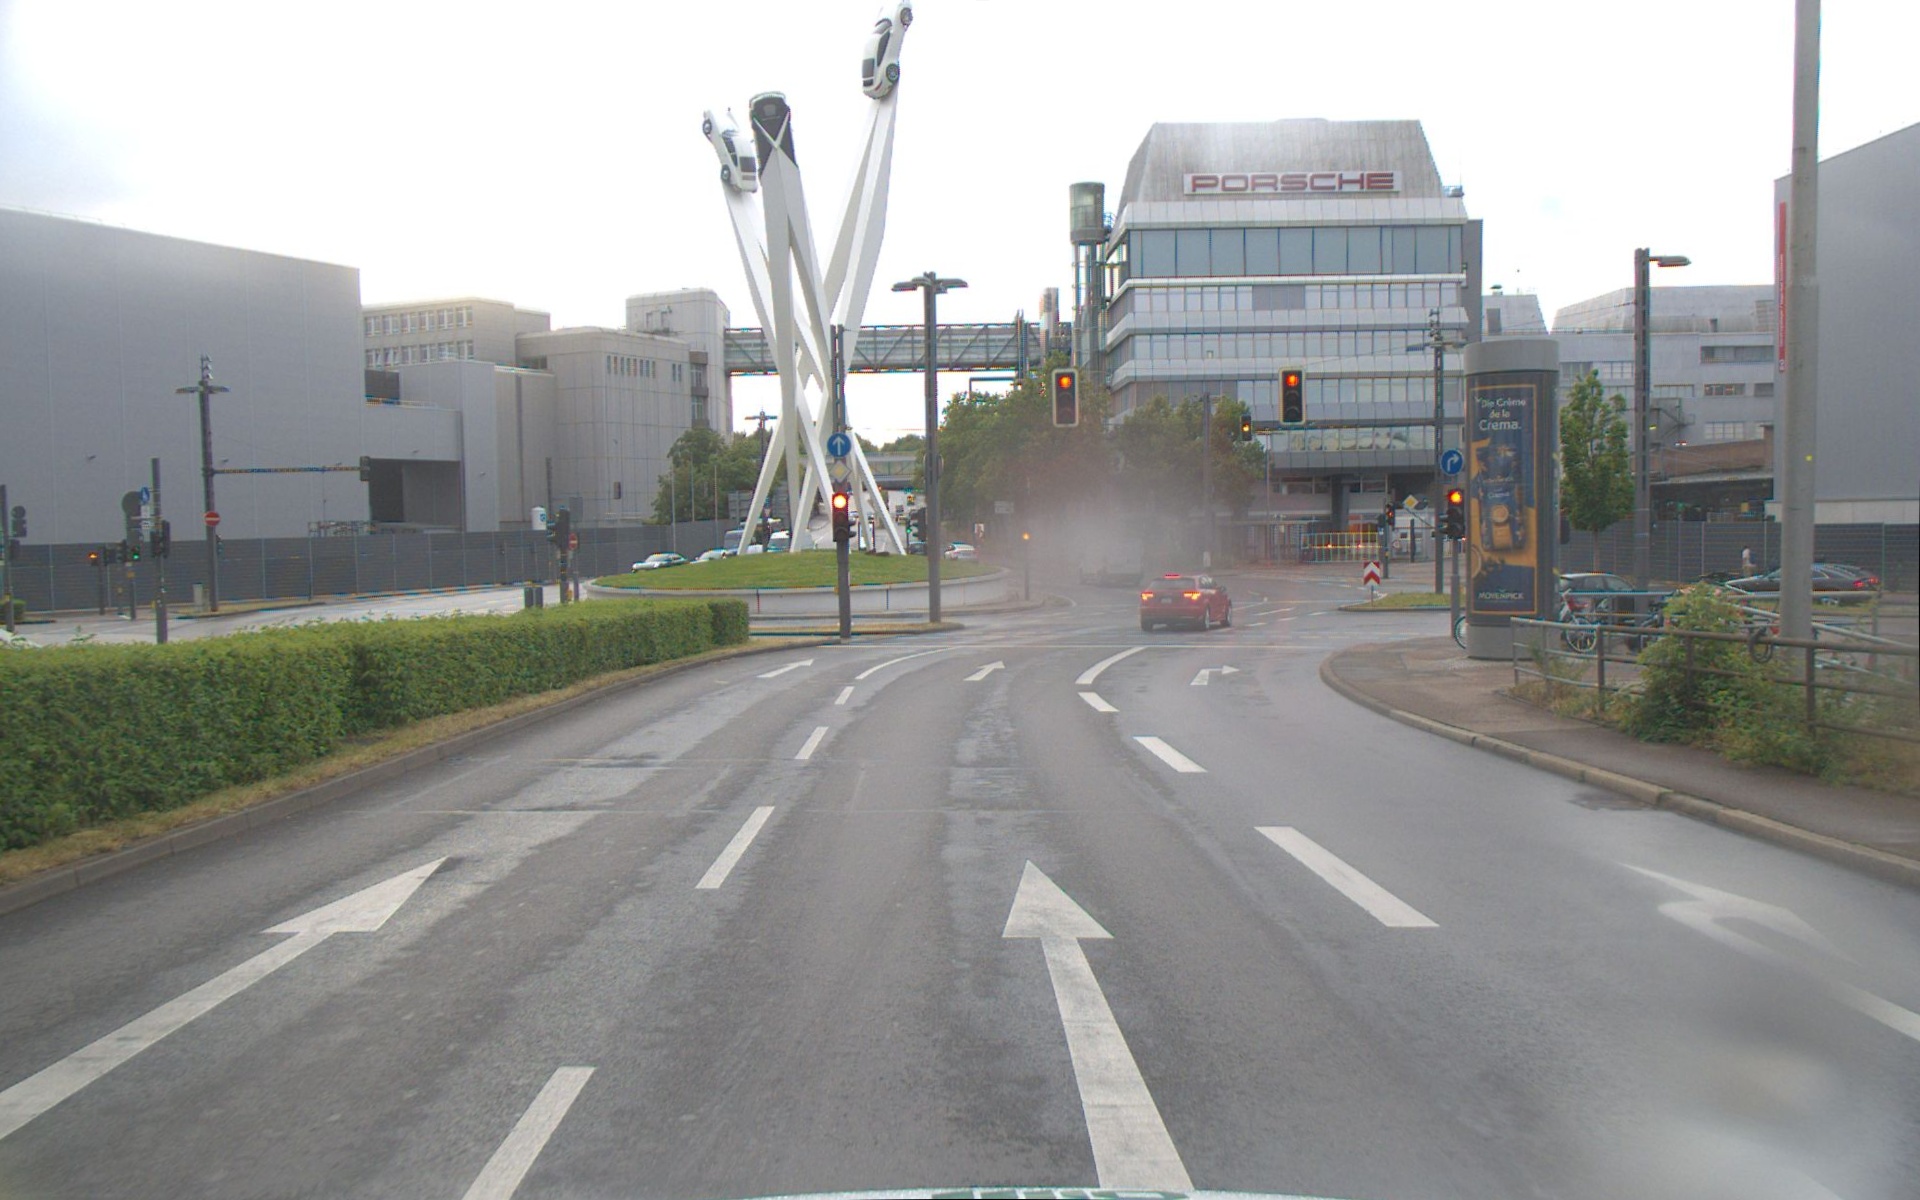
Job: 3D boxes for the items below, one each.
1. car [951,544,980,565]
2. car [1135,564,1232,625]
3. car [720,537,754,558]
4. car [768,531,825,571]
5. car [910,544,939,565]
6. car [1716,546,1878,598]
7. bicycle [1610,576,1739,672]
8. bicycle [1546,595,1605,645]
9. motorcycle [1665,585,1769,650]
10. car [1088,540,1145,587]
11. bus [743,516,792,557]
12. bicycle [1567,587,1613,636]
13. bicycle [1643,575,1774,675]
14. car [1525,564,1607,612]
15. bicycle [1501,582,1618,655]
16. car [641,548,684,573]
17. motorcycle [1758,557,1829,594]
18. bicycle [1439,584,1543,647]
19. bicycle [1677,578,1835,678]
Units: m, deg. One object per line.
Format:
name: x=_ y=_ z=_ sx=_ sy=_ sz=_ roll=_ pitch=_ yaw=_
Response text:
car: x=0.365 y=-3.005 z=110.241 sx=1.635 sy=1.323 sz=3.882 roll=-1 pitch=0 yaw=-5
car: x=5.835 y=-0.142 z=42.944 sx=1.736 sy=1.490 sz=3.733 roll=0 pitch=0 yaw=20
car: x=-16.535 y=-3.911 z=122.818 sx=1.795 sy=1.497 sz=4.514 roll=-1 pitch=1 yaw=1
car: x=-10.509 y=-3.166 z=106.804 sx=1.951 sy=2.489 sz=5.432 roll=-1 pitch=1 yaw=13
car: x=-2.393 y=-3.046 z=110.968 sx=1.528 sy=1.310 sz=3.407 roll=-1 pitch=0 yaw=-8
car: x=27.643 y=-0.961 z=54.731 sx=4.501 sy=1.566 sz=1.748 roll=2 pitch=3 yaw=41
bicycle: x=9.762 y=0.311 z=22.584 sx=1.906 sy=1.245 sz=0.593 roll=-2 pitch=0 yaw=-30
bicycle: x=11.751 y=0.368 z=31.634 sx=0.677 sy=0.920 sz=2.176 roll=0 pitch=0 yaw=11
motorcycle: x=17.690 y=0.401 z=38.707 sx=2.183 sy=1.477 sz=0.756 roll=0 pitch=1 yaw=22
car: x=7.465 y=-1.714 z=79.330 sx=2.187 sy=2.144 sz=4.953 roll=-1 pitch=0 yaw=-1
bus: x=-15.891 y=-5.198 z=137.362 sx=2.614 sy=3.256 sz=12.670 roll=0 pitch=1 yaw=0
bicycle: x=14.964 y=0.273 z=39.251 sx=0.379 sy=1.117 sz=1.739 roll=0 pitch=1 yaw=43
bicycle: x=9.878 y=0.313 z=21.804 sx=1.907 sy=1.245 sz=0.593 roll=-2 pitch=0 yaw=-32
car: x=17.104 y=-0.333 z=46.775 sx=1.576 sy=1.313 sz=3.569 roll=0 pitch=0 yaw=10
bicycle: x=10.204 y=0.313 z=28.193 sx=1.762 sy=1.182 sz=0.592 roll=-1 pitch=0 yaw=2
car: x=-18.415 y=-2.471 z=102.579 sx=1.795 sy=1.497 sz=4.514 roll=-1 pitch=1 yaw=1
motorcycle: x=31.872 y=-0.940 z=63.270 sx=2.316 sy=1.367 sz=0.650 roll=1 pitch=2 yaw=40
bicycle: x=9.923 y=0.287 z=30.949 sx=1.732 sy=1.160 sz=0.679 roll=-1 pitch=0 yaw=6
bicycle: x=10.062 y=0.337 z=20.907 sx=1.895 sy=1.198 sz=0.596 roll=-1 pitch=0 yaw=-17
